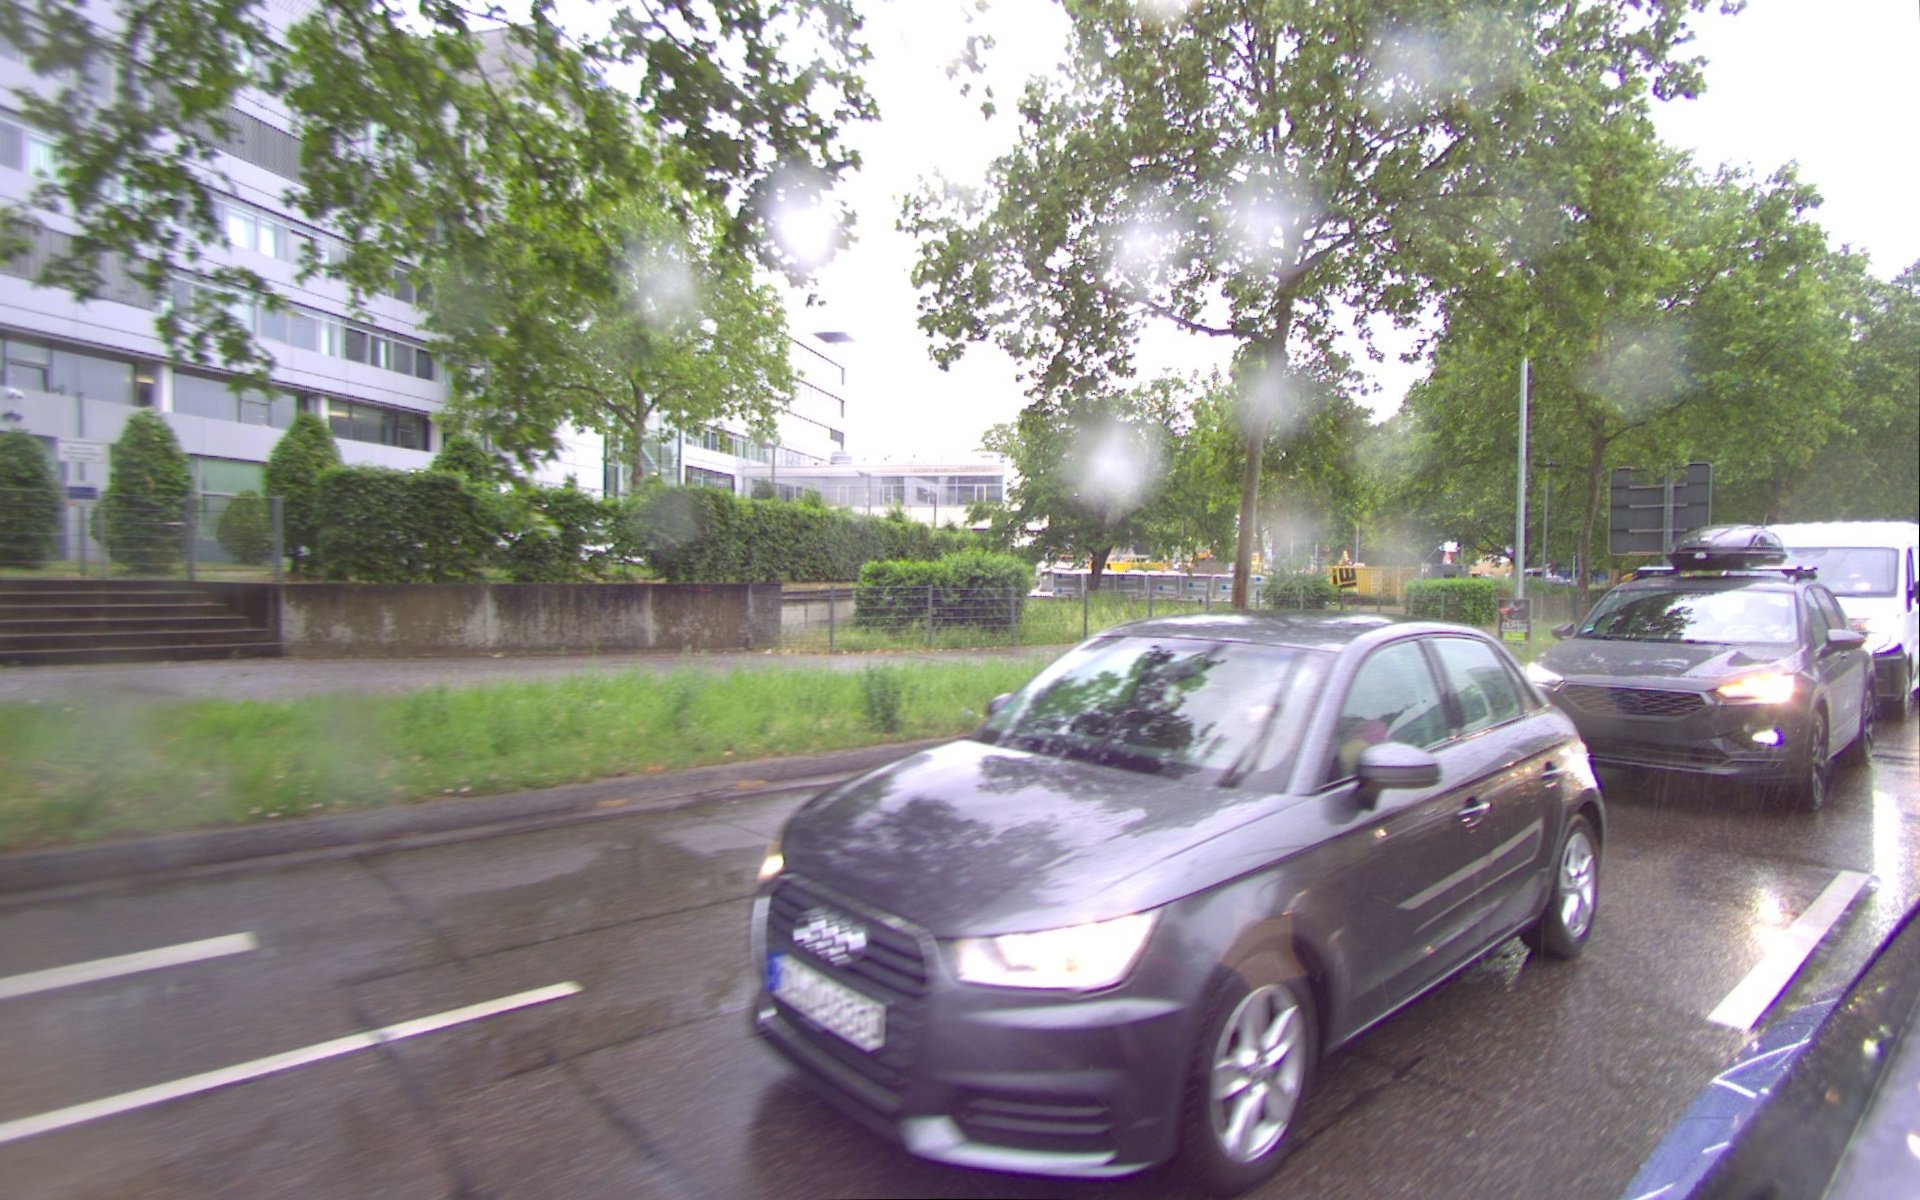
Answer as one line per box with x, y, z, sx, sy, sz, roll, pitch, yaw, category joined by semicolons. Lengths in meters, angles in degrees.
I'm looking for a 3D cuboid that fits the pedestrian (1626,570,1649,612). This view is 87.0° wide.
28.231;-0.362;42.192;0.645;1.738;0.645;-1;0;-40;pedestrian

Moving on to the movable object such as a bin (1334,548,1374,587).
36.658;-3.000;94.321;1.882;3.477;4.937;-1;1;1;movable object such as a bin

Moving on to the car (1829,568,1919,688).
17.067;0.429;18.086;4.470;1.937;1.805;0;1;-42;car

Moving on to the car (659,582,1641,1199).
0.990;0.666;3.781;3.715;1.445;1.679;0;1;-41;car

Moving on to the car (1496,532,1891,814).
6.222;0.406;8.369;4.350;1.719;1.891;-1;2;-44;car

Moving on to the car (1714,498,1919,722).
11.968;0.071;13.660;5.227;2.476;1.892;0;1;-42;car
